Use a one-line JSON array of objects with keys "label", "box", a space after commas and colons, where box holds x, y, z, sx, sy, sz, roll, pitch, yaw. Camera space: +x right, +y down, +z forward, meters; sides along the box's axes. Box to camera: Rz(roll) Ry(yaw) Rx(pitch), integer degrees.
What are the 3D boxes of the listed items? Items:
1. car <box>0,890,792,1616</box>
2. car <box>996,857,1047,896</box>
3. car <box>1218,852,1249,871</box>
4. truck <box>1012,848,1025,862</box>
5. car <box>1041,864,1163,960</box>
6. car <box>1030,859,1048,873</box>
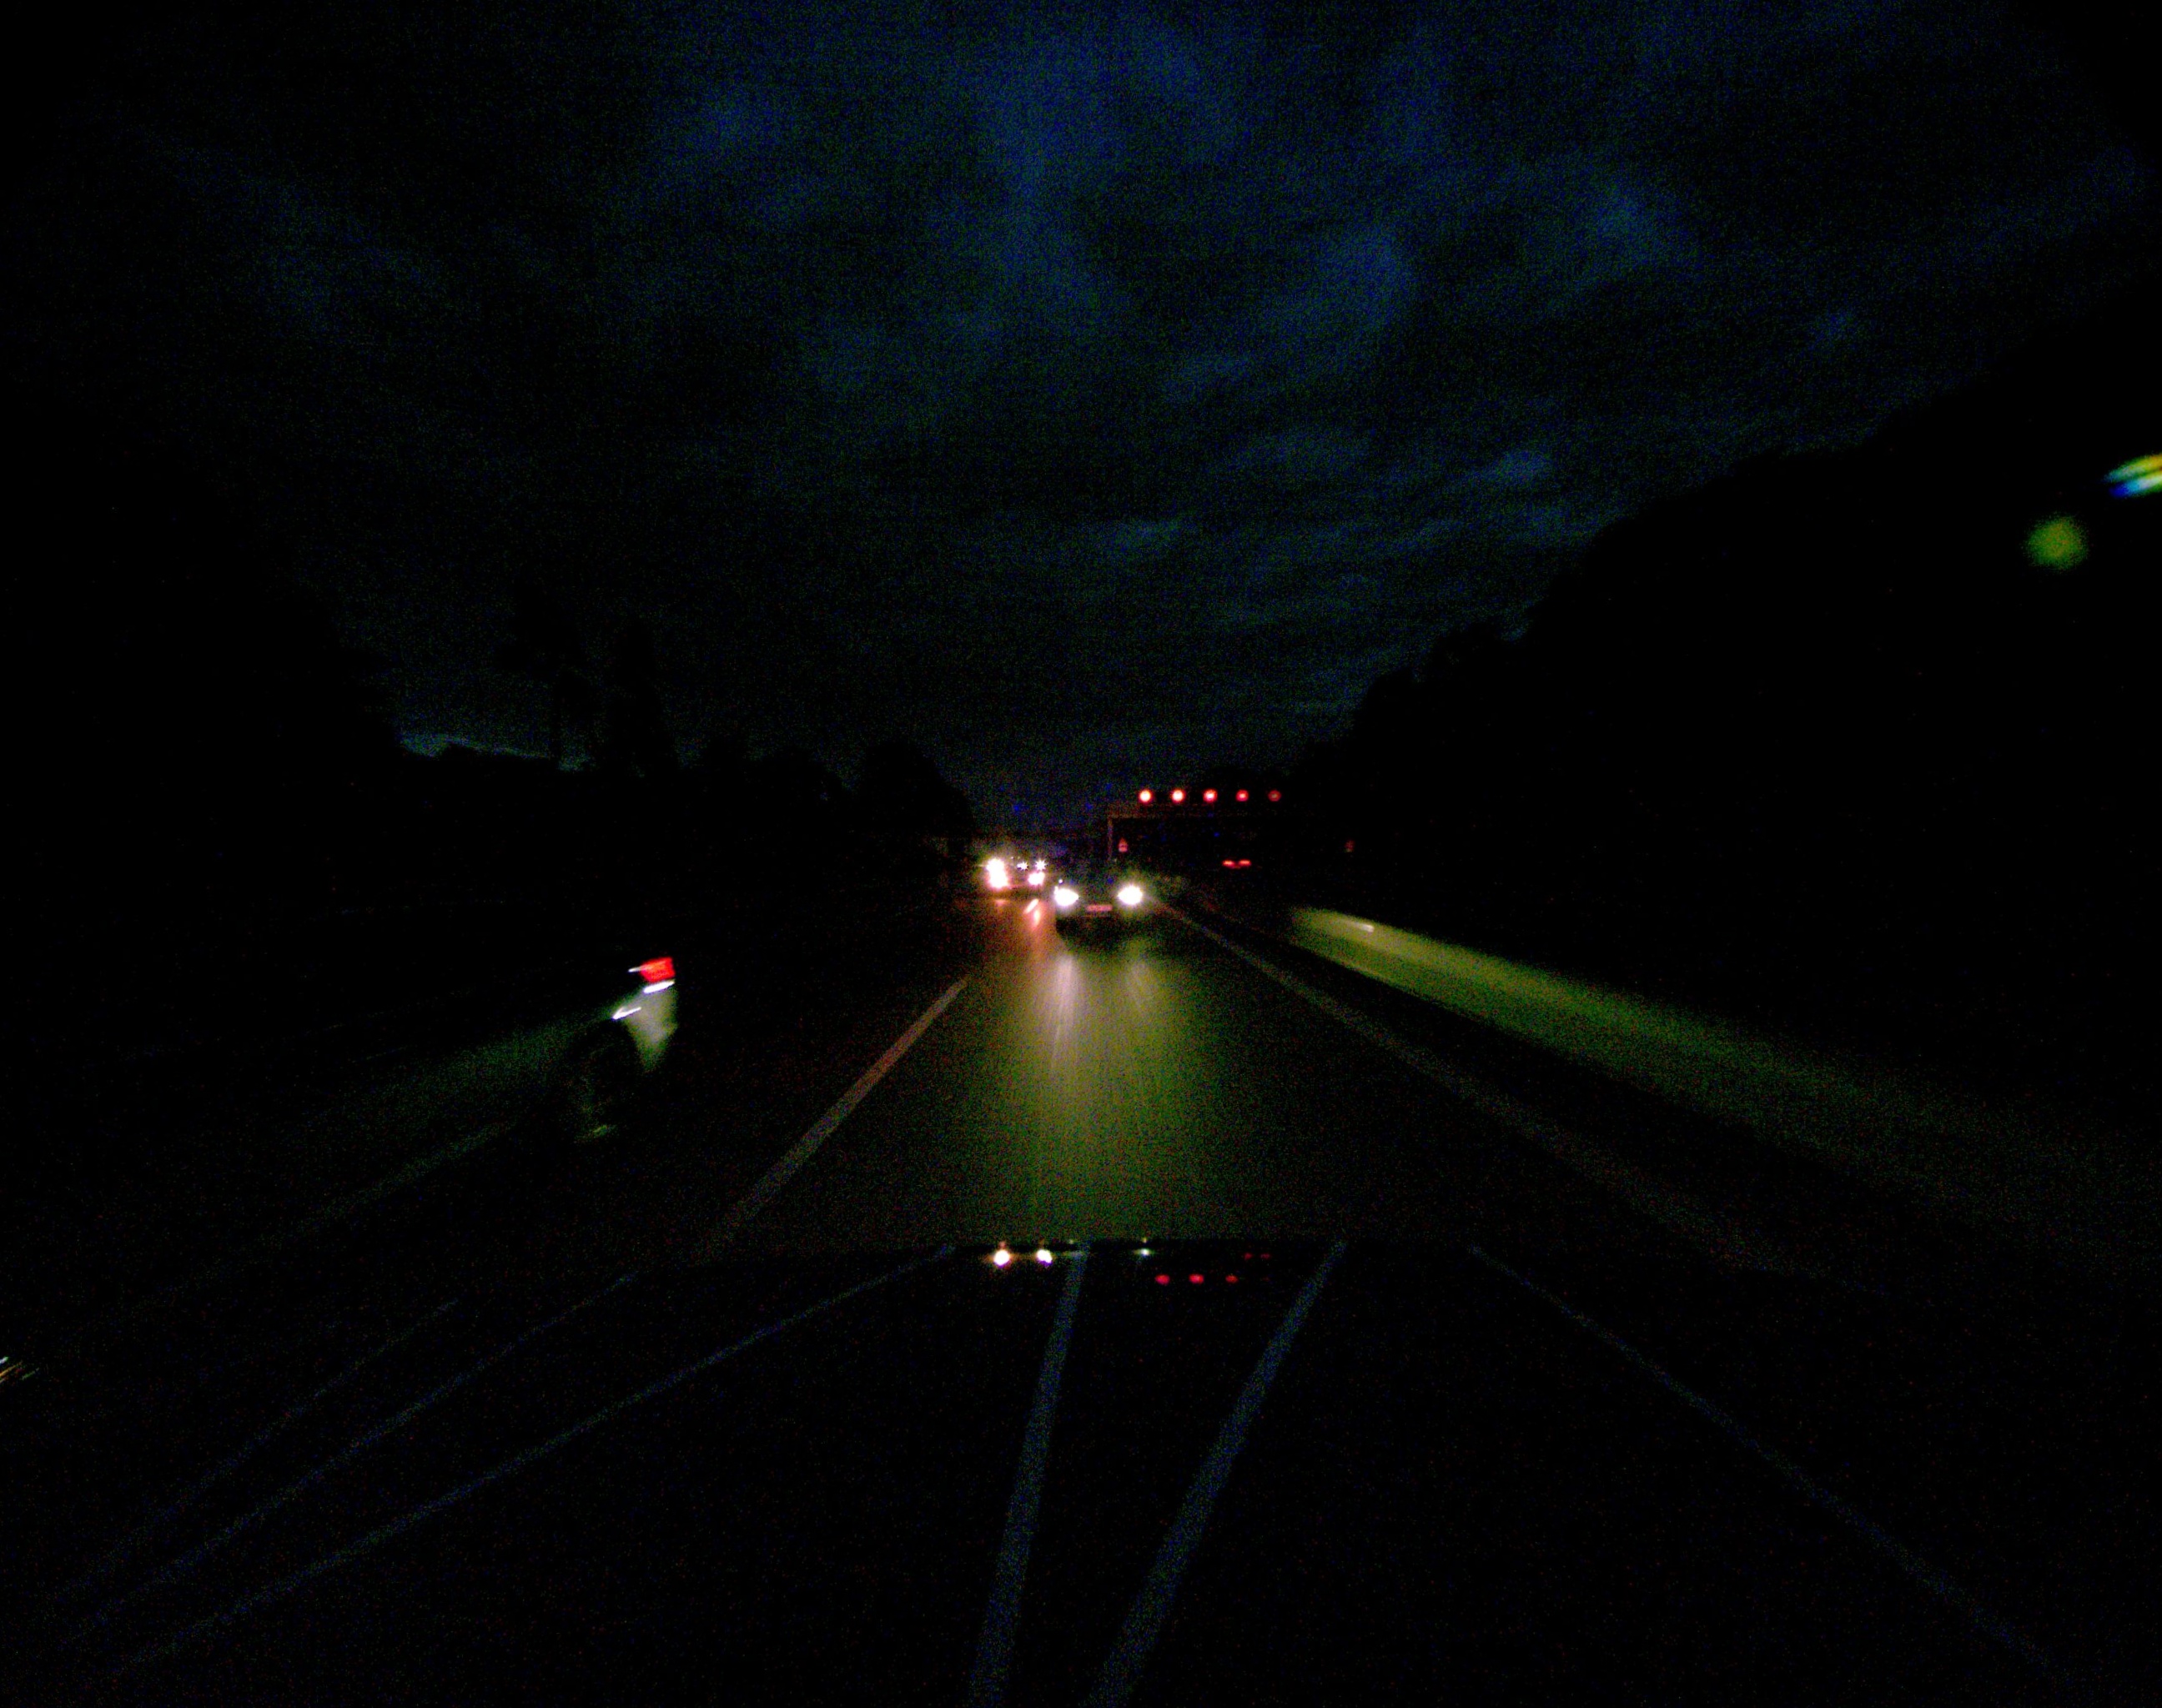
[{"label": "car", "box": [-3.466, 1.050, 3.961, 1.914, 1.528, 5.232, -1, -1, 0]}, {"label": "car", "box": [-2.484, 0.913, 32.883, 1.814, 1.457, 5.131, -1, 1, 0]}, {"label": "car", "box": [12.152, 0.576, 60.781, 1.623, 1.397, 4.315, -1, 0, 0]}, {"label": "truck", "box": [-19.807, 0.398, 240.315, 3.147, 3.986, 10.538, -1, -1, -8]}, {"label": "car", "box": [0.397, 0.945, 14.197, 1.879, 1.435, 4.451, -1, 0, 2]}, {"label": "car", "box": [-4.835, 1.437, 87.955, 1.999, 1.539, 4.000, -1, -1, -2]}]
